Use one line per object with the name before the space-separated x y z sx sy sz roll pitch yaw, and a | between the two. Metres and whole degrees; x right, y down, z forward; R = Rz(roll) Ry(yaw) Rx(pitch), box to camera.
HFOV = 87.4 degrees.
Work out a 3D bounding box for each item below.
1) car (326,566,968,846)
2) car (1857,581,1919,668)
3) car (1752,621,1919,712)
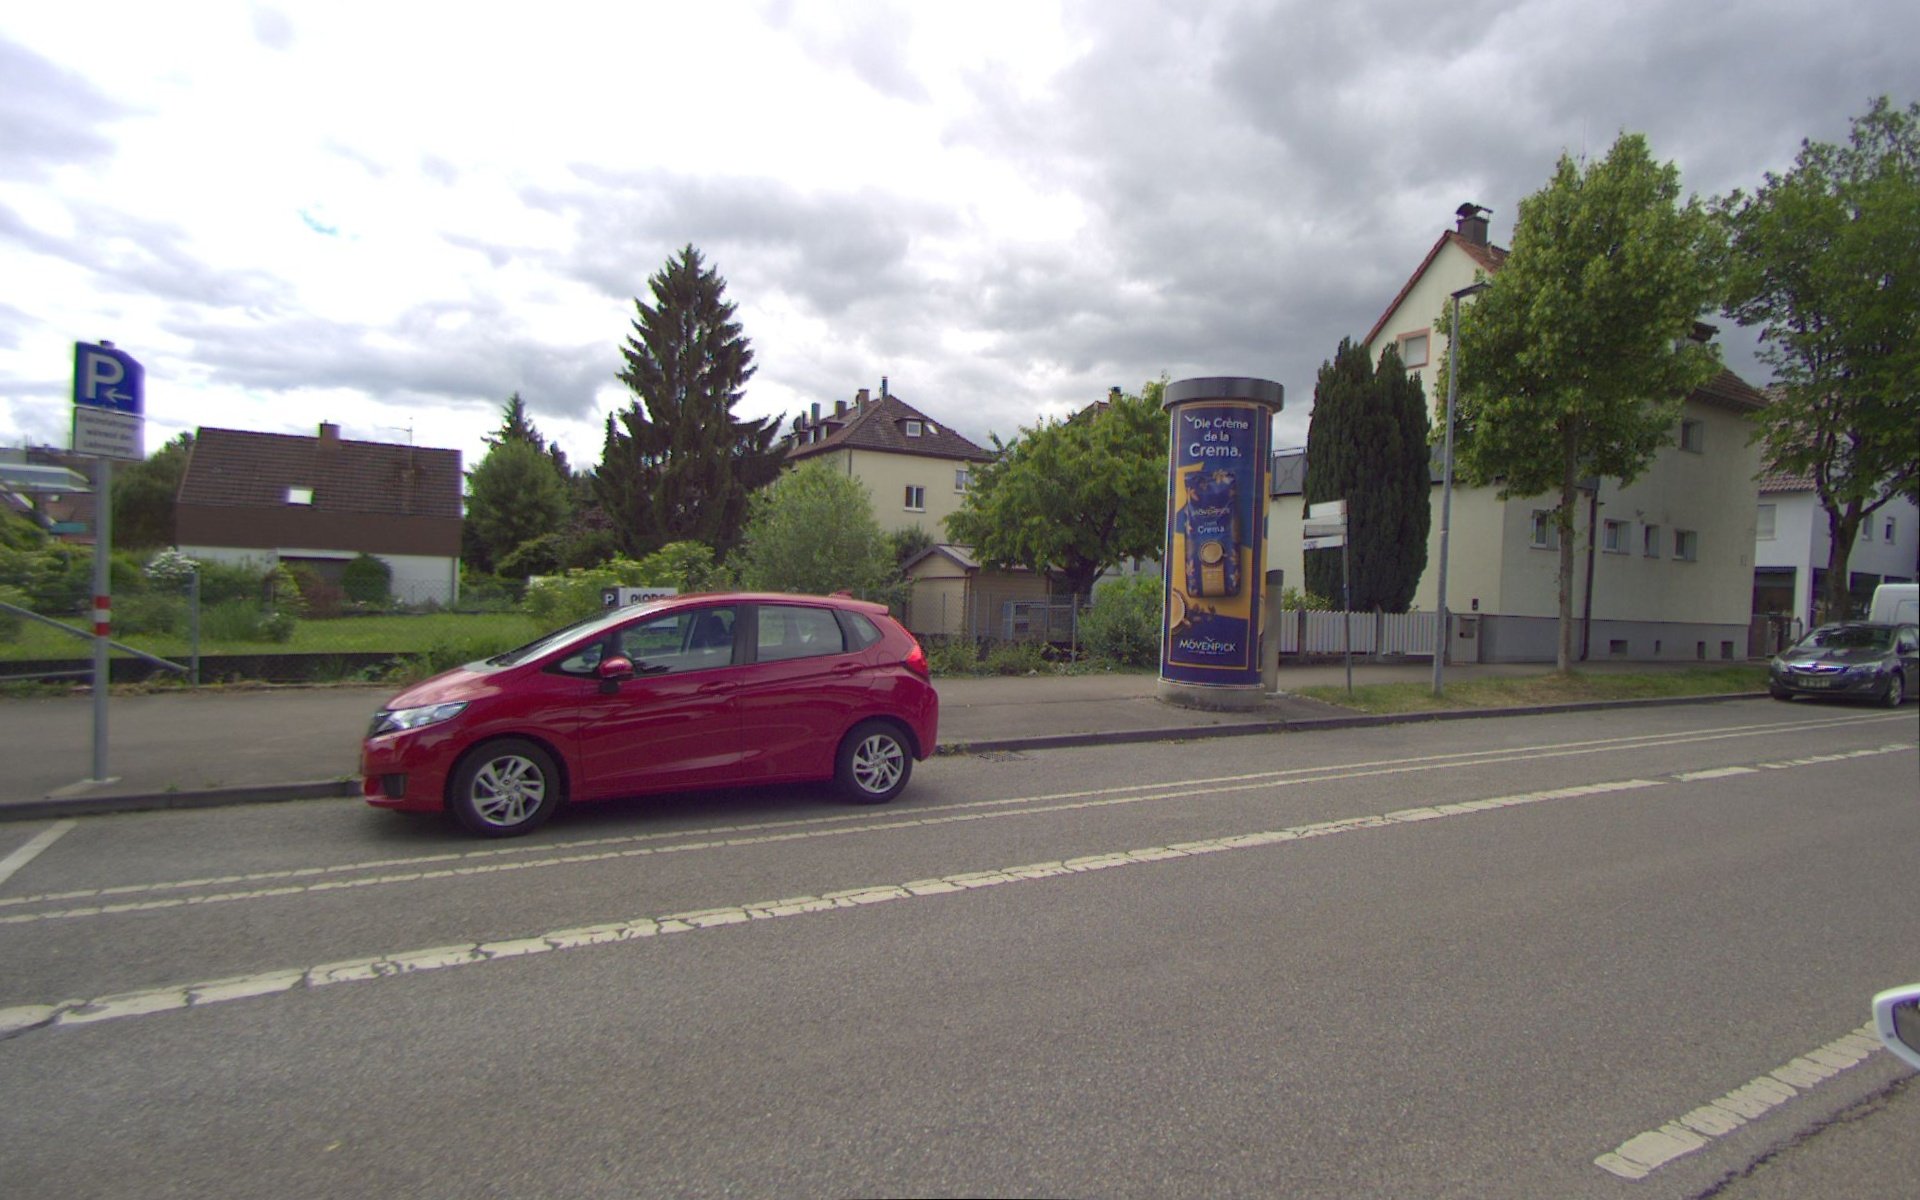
car | -2.129 0.623 7.324 4.082 1.561 1.677 1 0 -29
car | 31.234 0.825 29.270 2.197 2.629 7.243 1 0 -34
car | 16.830 1.182 18.788 4.251 1.488 1.723 1 0 -30
